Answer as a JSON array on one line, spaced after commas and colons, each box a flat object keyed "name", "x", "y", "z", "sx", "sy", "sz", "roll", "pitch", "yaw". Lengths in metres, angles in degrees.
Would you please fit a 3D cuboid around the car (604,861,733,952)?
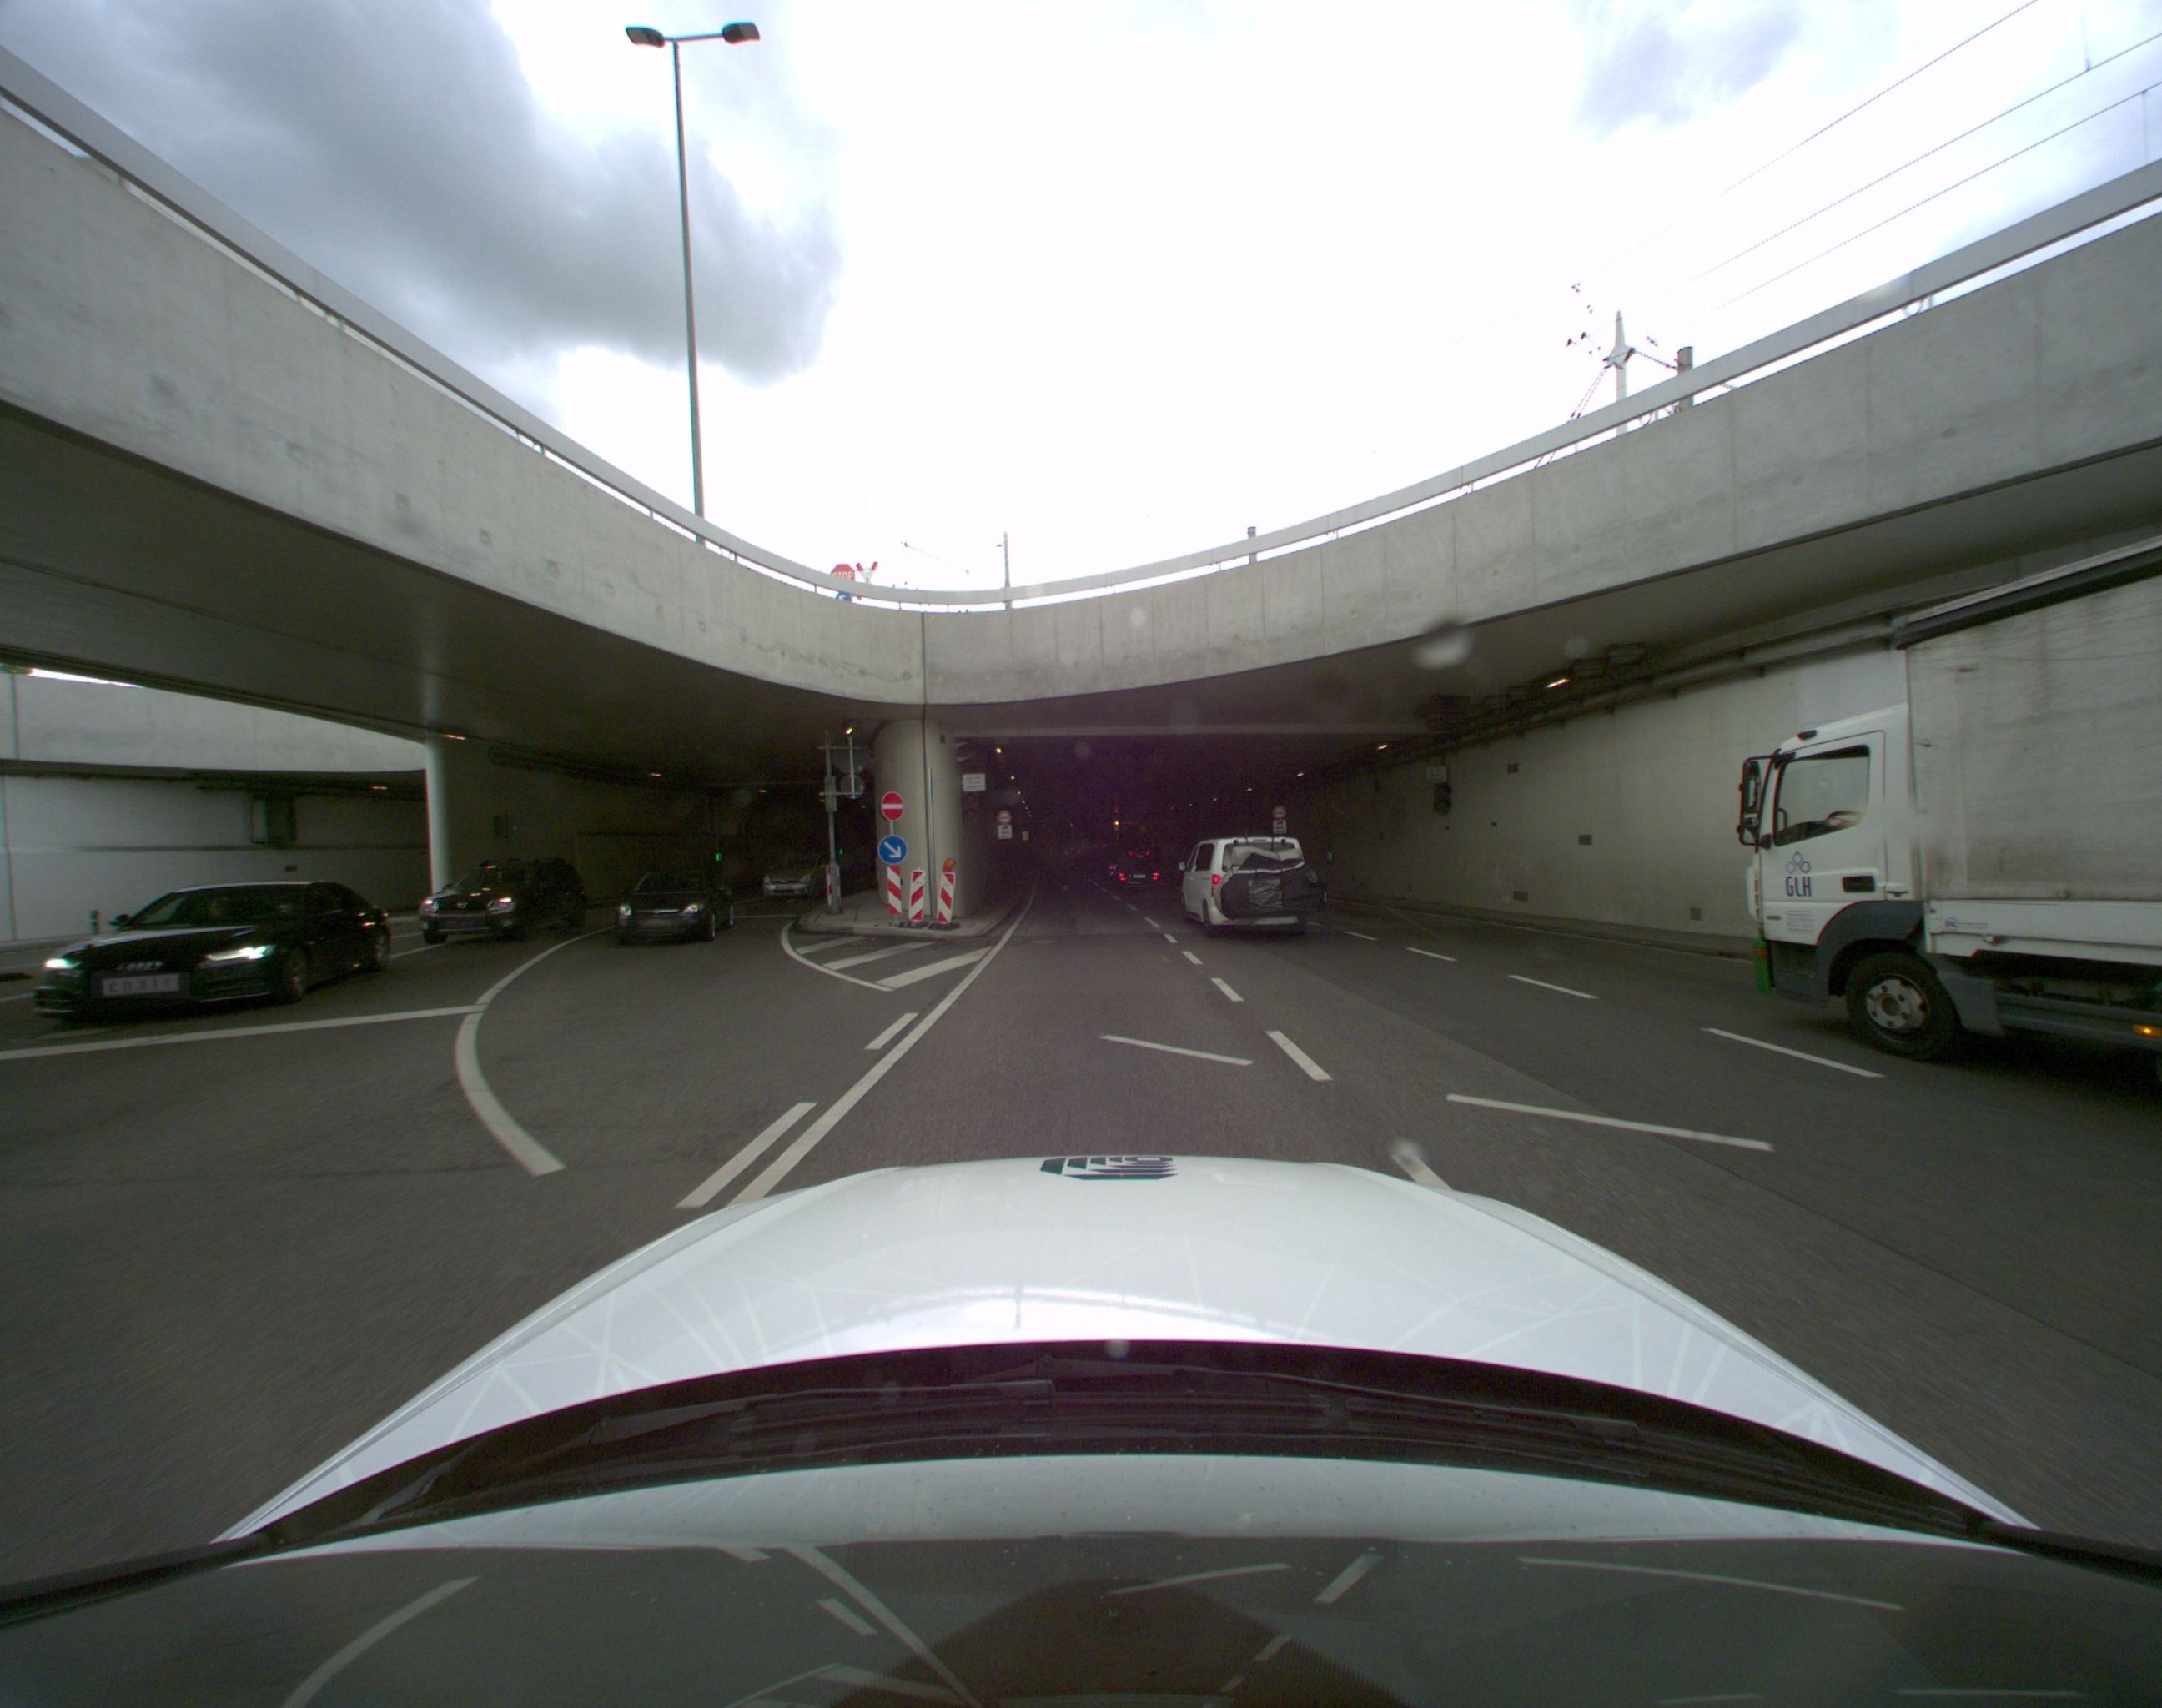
[{"name": "car", "x": -8.080, "y": 0.934, "z": 16.290, "sx": 1.669, "sy": 1.441, "sz": 4.087, "roll": -2, "pitch": 1, "yaw": -19}]

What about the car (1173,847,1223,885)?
[{"name": "car", "x": 6.063, "y": 0.587, "z": 42.513, "sx": 1.814, "sy": 1.749, "sz": 3.997, "roll": 2, "pitch": 1, "yaw": -2}]

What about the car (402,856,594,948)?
[{"name": "car", "x": -12.186, "y": 0.897, "z": 17.404, "sx": 1.796, "sy": 1.599, "sz": 4.308, "roll": -1, "pitch": 1, "yaw": -13}]

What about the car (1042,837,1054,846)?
[{"name": "car", "x": -4.889, "y": -1.820, "z": 121.628, "sx": 1.507, "sy": 1.247, "sz": 3.558, "roll": -2, "pitch": 0, "yaw": -7}]

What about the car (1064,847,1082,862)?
[{"name": "car", "x": -0.833, "y": 0.064, "z": 80.957, "sx": 1.656, "sy": 1.488, "sz": 3.564, "roll": -2, "pitch": 0, "yaw": -2}]

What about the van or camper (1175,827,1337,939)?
[{"name": "van or camper", "x": 3.236, "y": 0.499, "z": 16.343, "sx": 1.988, "sy": 1.845, "sz": 5.505, "roll": 0, "pitch": 0, "yaw": -1}]

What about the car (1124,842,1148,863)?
[{"name": "car", "x": 4.603, "y": -0.127, "z": 68.883, "sx": 1.656, "sy": 1.633, "sz": 3.565, "roll": 2, "pitch": 1, "yaw": -2}]

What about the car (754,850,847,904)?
[{"name": "car", "x": -9.923, "y": 0.735, "z": 29.219, "sx": 1.804, "sy": 1.604, "sz": 4.783, "roll": -2, "pitch": 2, "yaw": -3}]

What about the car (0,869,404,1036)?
[{"name": "car", "x": -10.364, "y": 0.970, "z": 10.165, "sx": 1.861, "sy": 1.442, "sz": 4.801, "roll": -2, "pitch": 0, "yaw": -27}]

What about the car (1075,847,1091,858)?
[{"name": "car", "x": 0.201, "y": -0.189, "z": 95.856, "sx": 1.659, "sy": 1.247, "sz": 3.564, "roll": -2, "pitch": 0, "yaw": -2}]

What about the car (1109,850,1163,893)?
[{"name": "car", "x": 2.279, "y": 0.704, "z": 34.878, "sx": 1.815, "sy": 1.684, "sz": 3.995, "roll": 0, "pitch": 1, "yaw": -4}]

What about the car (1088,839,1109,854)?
[{"name": "car", "x": 2.105, "y": -0.883, "z": 99.228, "sx": 1.987, "sy": 1.676, "sz": 4.501, "roll": -1, "pitch": 0, "yaw": -5}]

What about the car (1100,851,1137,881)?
[{"name": "car", "x": 2.182, "y": 0.675, "z": 47.968, "sx": 1.814, "sy": 1.580, "sz": 3.997, "roll": 2, "pitch": 1, "yaw": -2}]

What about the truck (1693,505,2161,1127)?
[{"name": "truck", "x": 6.840, "y": -0.214, "z": 3.710, "sx": 2.640, "sy": 3.184, "sz": 7.429, "roll": -2, "pitch": 1, "yaw": 2}]
